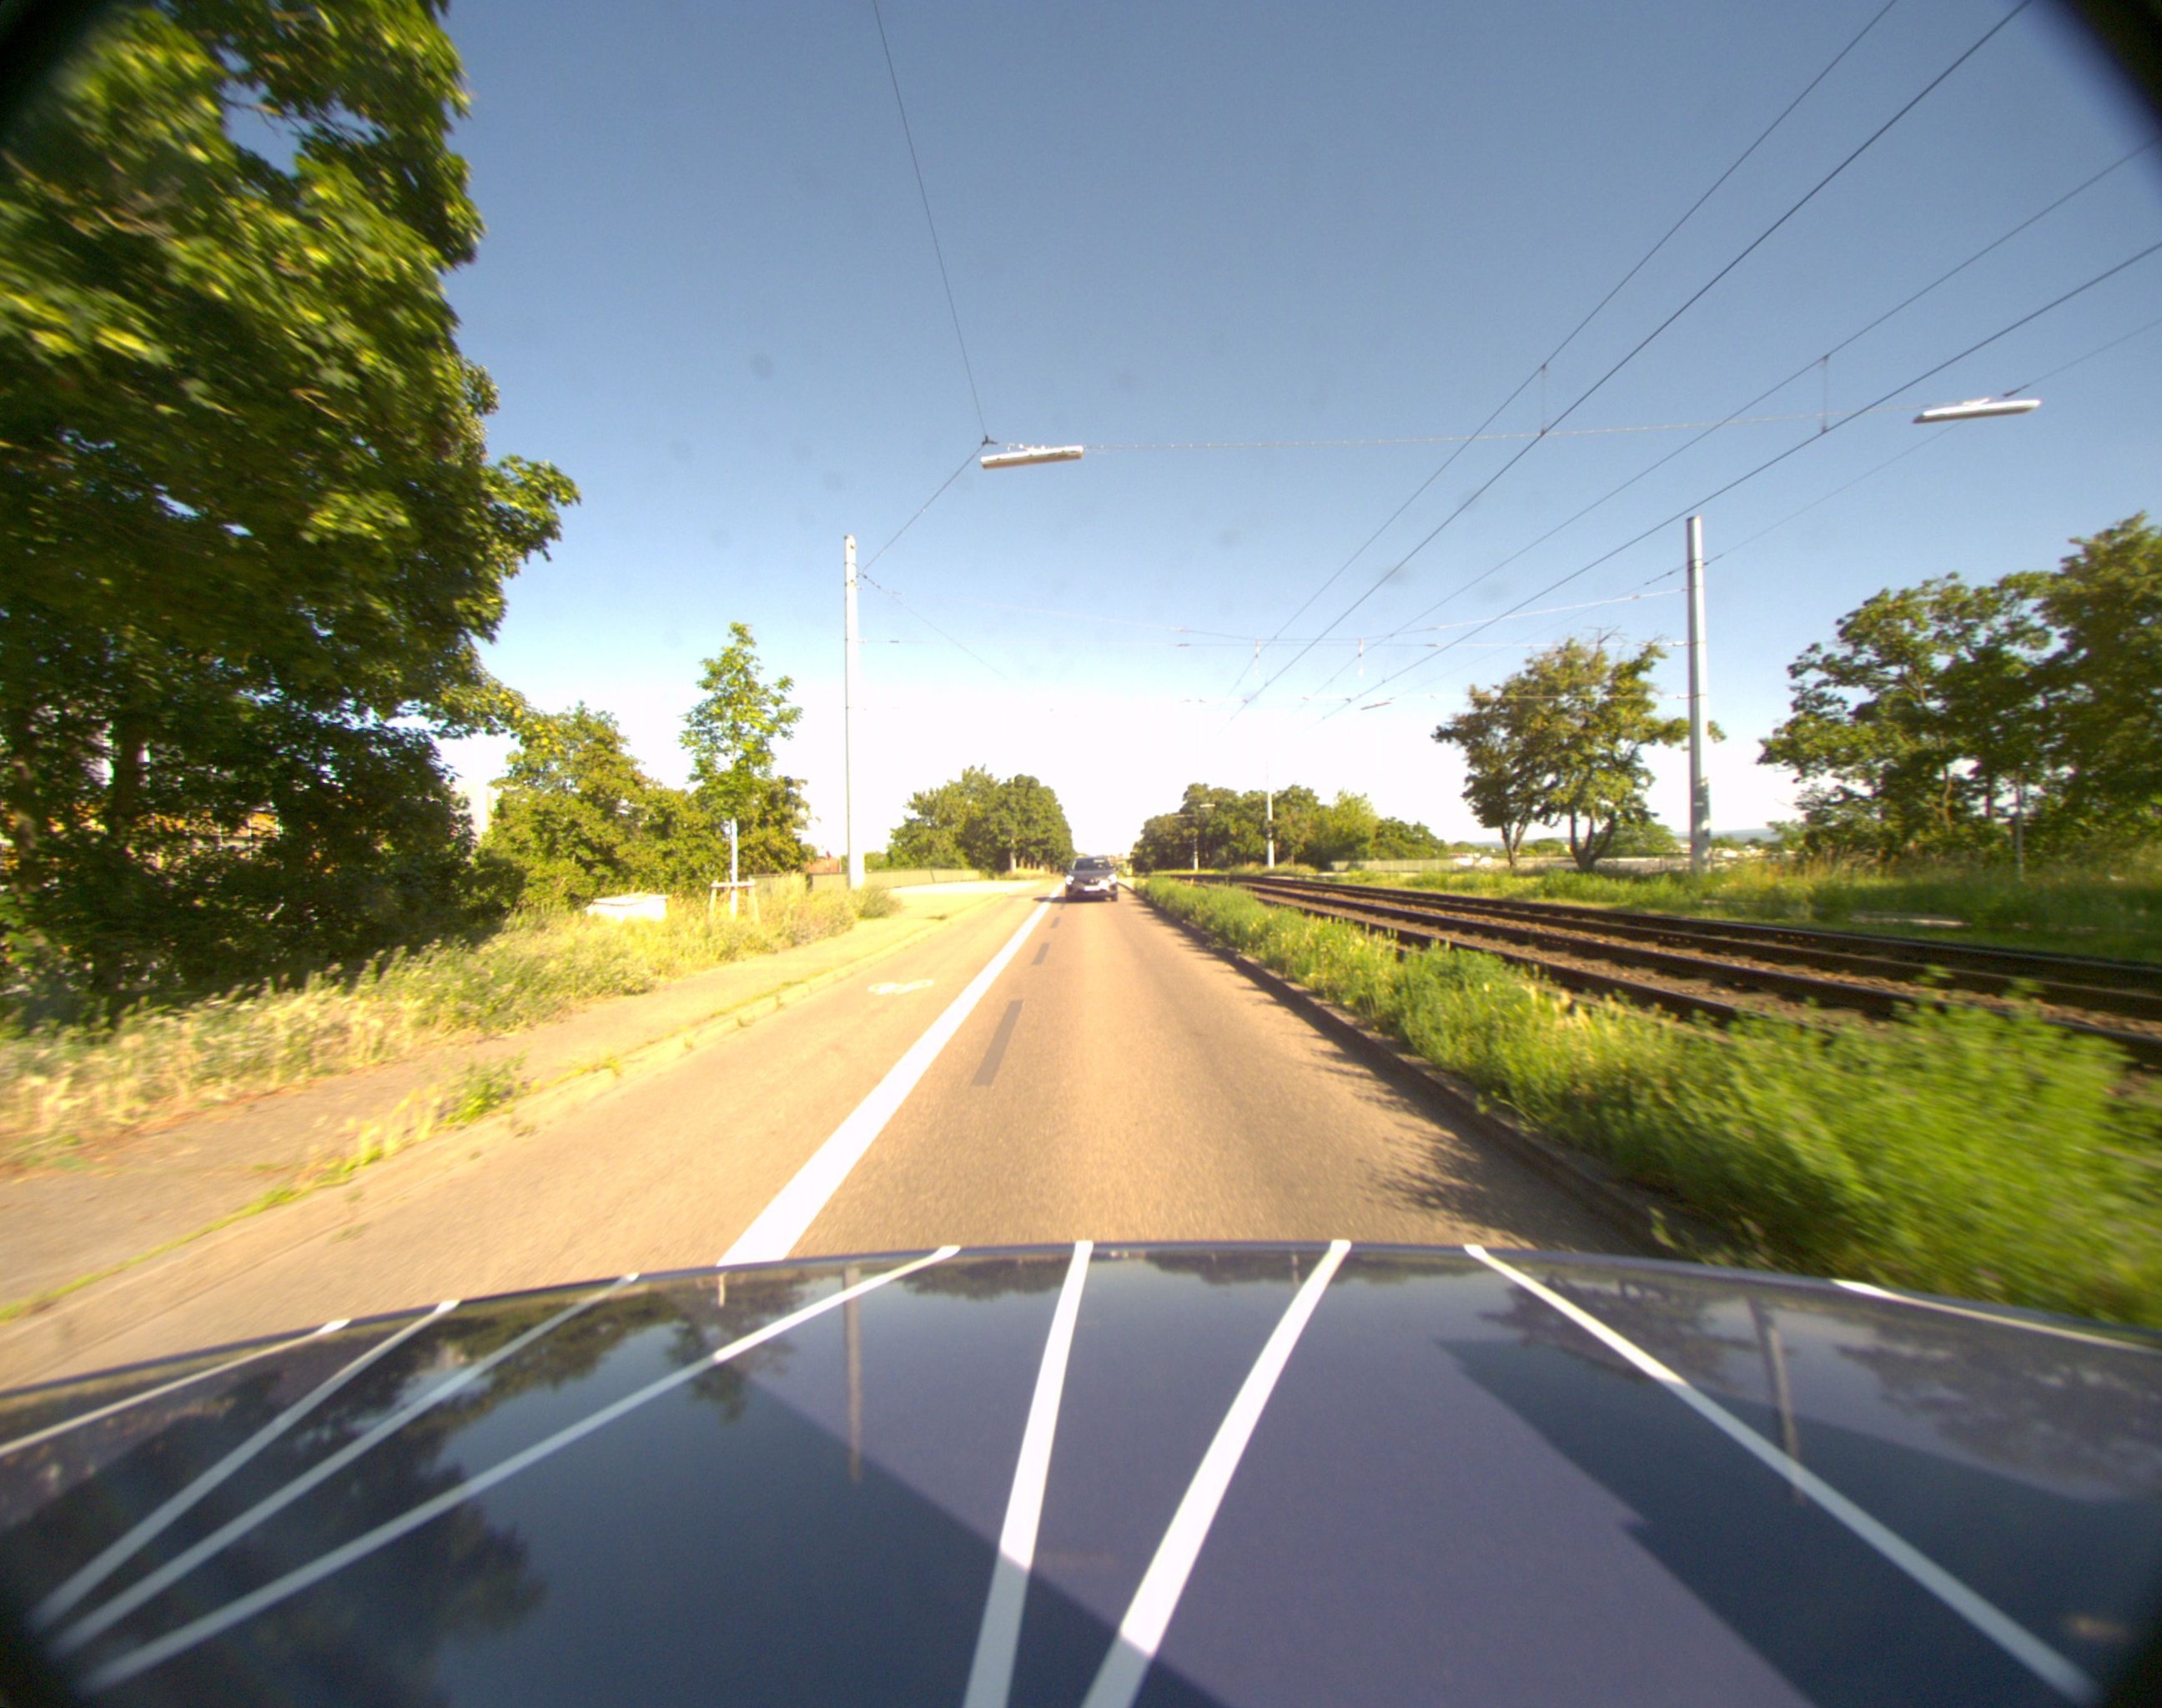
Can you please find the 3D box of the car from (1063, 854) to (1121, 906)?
[{"bbox_3d":[0.378,0.865,26.268,1.814,1.625,4.711,-1,-1,1],"label":"car"}]
